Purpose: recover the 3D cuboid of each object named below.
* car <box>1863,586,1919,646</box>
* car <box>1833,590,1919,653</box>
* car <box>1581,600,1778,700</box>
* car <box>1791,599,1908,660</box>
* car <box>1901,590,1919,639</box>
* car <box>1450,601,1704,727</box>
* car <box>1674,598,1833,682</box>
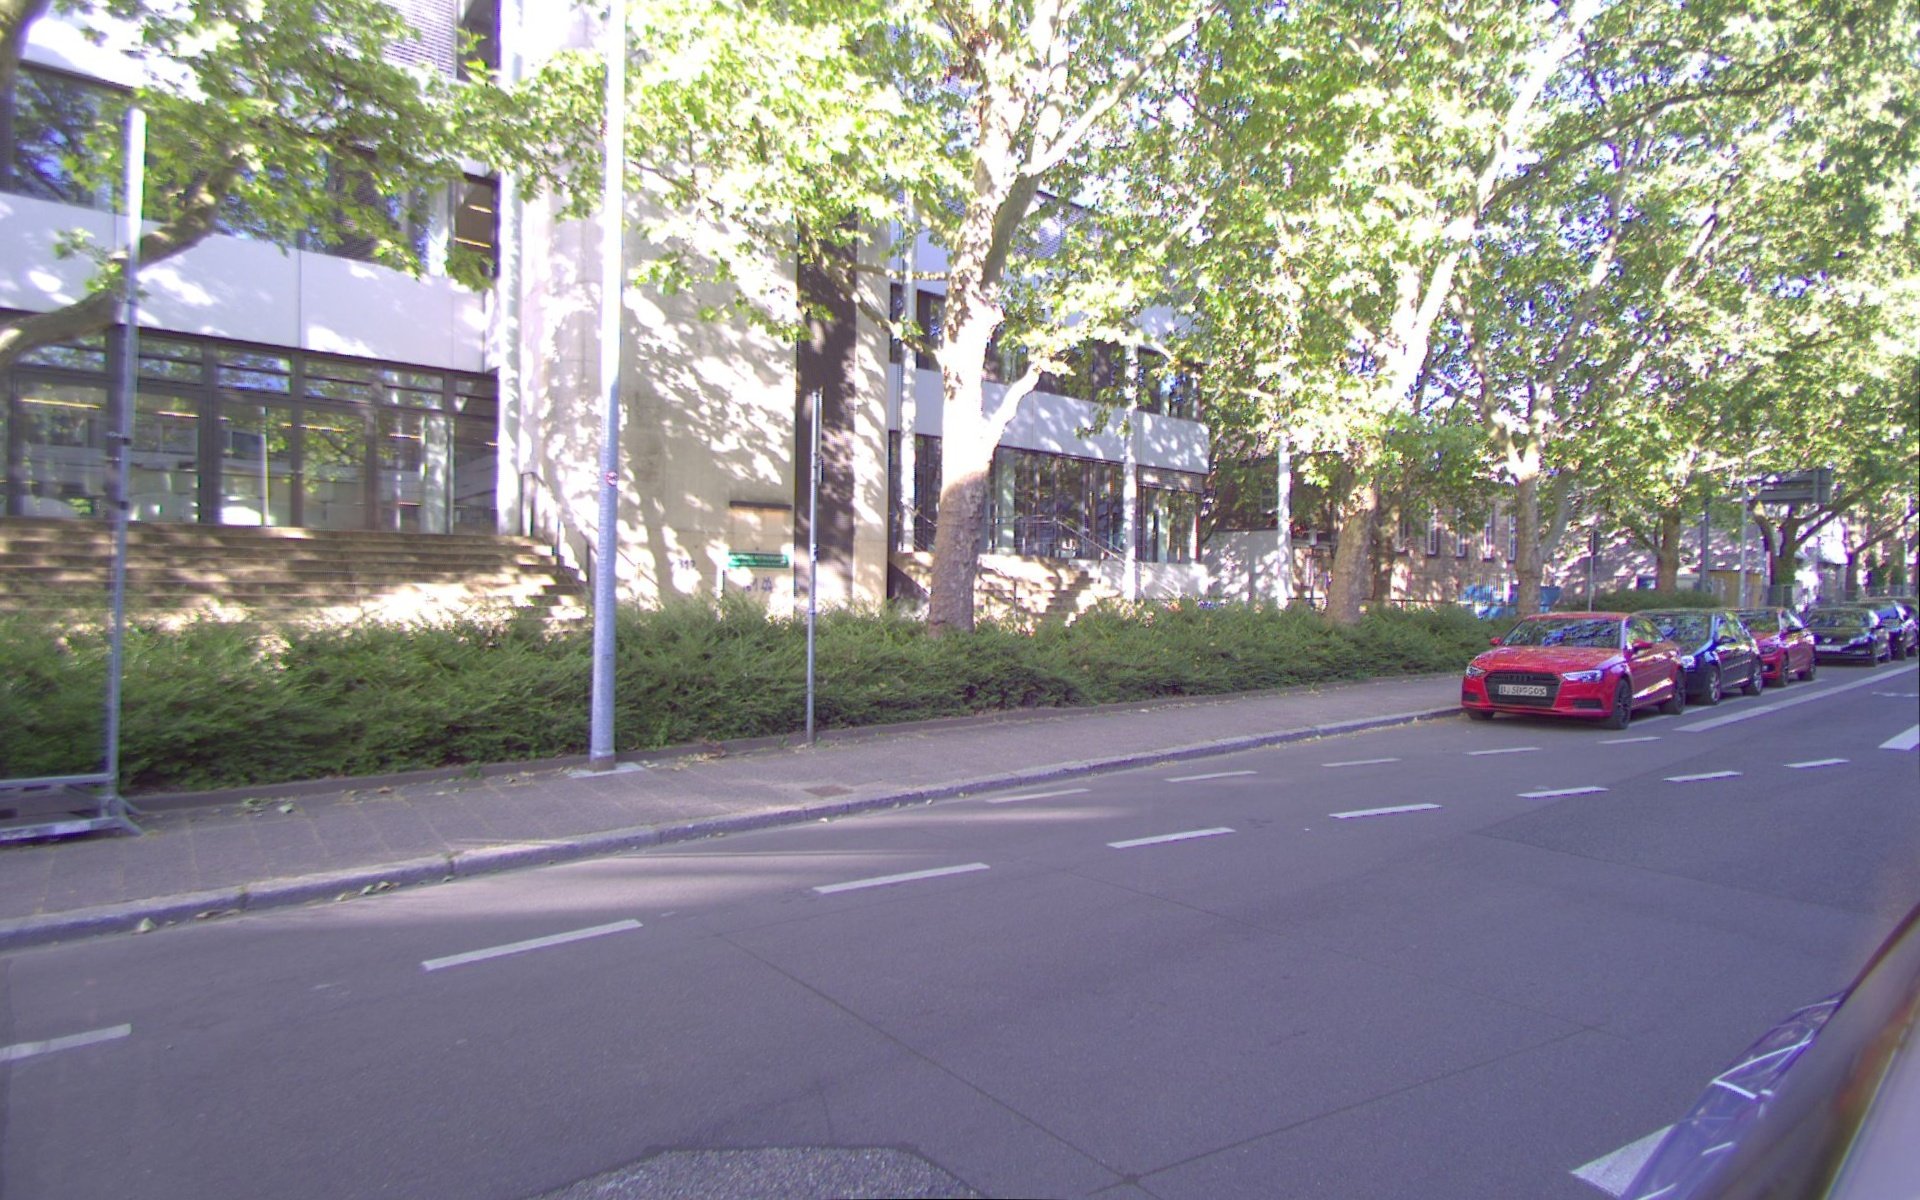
[{"bbox_3d":[30.977,0.485,32.979,4.370,1.843,1.753,0,-1,-41],"label":"car"},{"bbox_3d":[26.720,0.584,29.188,4.101,1.674,1.753,0,-1,-41],"label":"car"},{"bbox_3d":[11.857,0.738,16.600,3.841,1.451,1.753,0,-1,-41],"label":"car"},{"bbox_3d":[22.953,0.715,26.075,3.841,1.451,1.753,0,-1,-41],"label":"car"},{"bbox_3d":[36.200,0.515,37.275,4.370,1.750,1.753,0,-1,-41],"label":"car"},{"bbox_3d":[8.281,0.740,13.455,3.930,1.427,1.753,0,-1,-41],"label":"car"},{"bbox_3d":[15.708,0.719,19.976,3.841,1.486,1.753,0,-1,-41],"label":"car"}]
